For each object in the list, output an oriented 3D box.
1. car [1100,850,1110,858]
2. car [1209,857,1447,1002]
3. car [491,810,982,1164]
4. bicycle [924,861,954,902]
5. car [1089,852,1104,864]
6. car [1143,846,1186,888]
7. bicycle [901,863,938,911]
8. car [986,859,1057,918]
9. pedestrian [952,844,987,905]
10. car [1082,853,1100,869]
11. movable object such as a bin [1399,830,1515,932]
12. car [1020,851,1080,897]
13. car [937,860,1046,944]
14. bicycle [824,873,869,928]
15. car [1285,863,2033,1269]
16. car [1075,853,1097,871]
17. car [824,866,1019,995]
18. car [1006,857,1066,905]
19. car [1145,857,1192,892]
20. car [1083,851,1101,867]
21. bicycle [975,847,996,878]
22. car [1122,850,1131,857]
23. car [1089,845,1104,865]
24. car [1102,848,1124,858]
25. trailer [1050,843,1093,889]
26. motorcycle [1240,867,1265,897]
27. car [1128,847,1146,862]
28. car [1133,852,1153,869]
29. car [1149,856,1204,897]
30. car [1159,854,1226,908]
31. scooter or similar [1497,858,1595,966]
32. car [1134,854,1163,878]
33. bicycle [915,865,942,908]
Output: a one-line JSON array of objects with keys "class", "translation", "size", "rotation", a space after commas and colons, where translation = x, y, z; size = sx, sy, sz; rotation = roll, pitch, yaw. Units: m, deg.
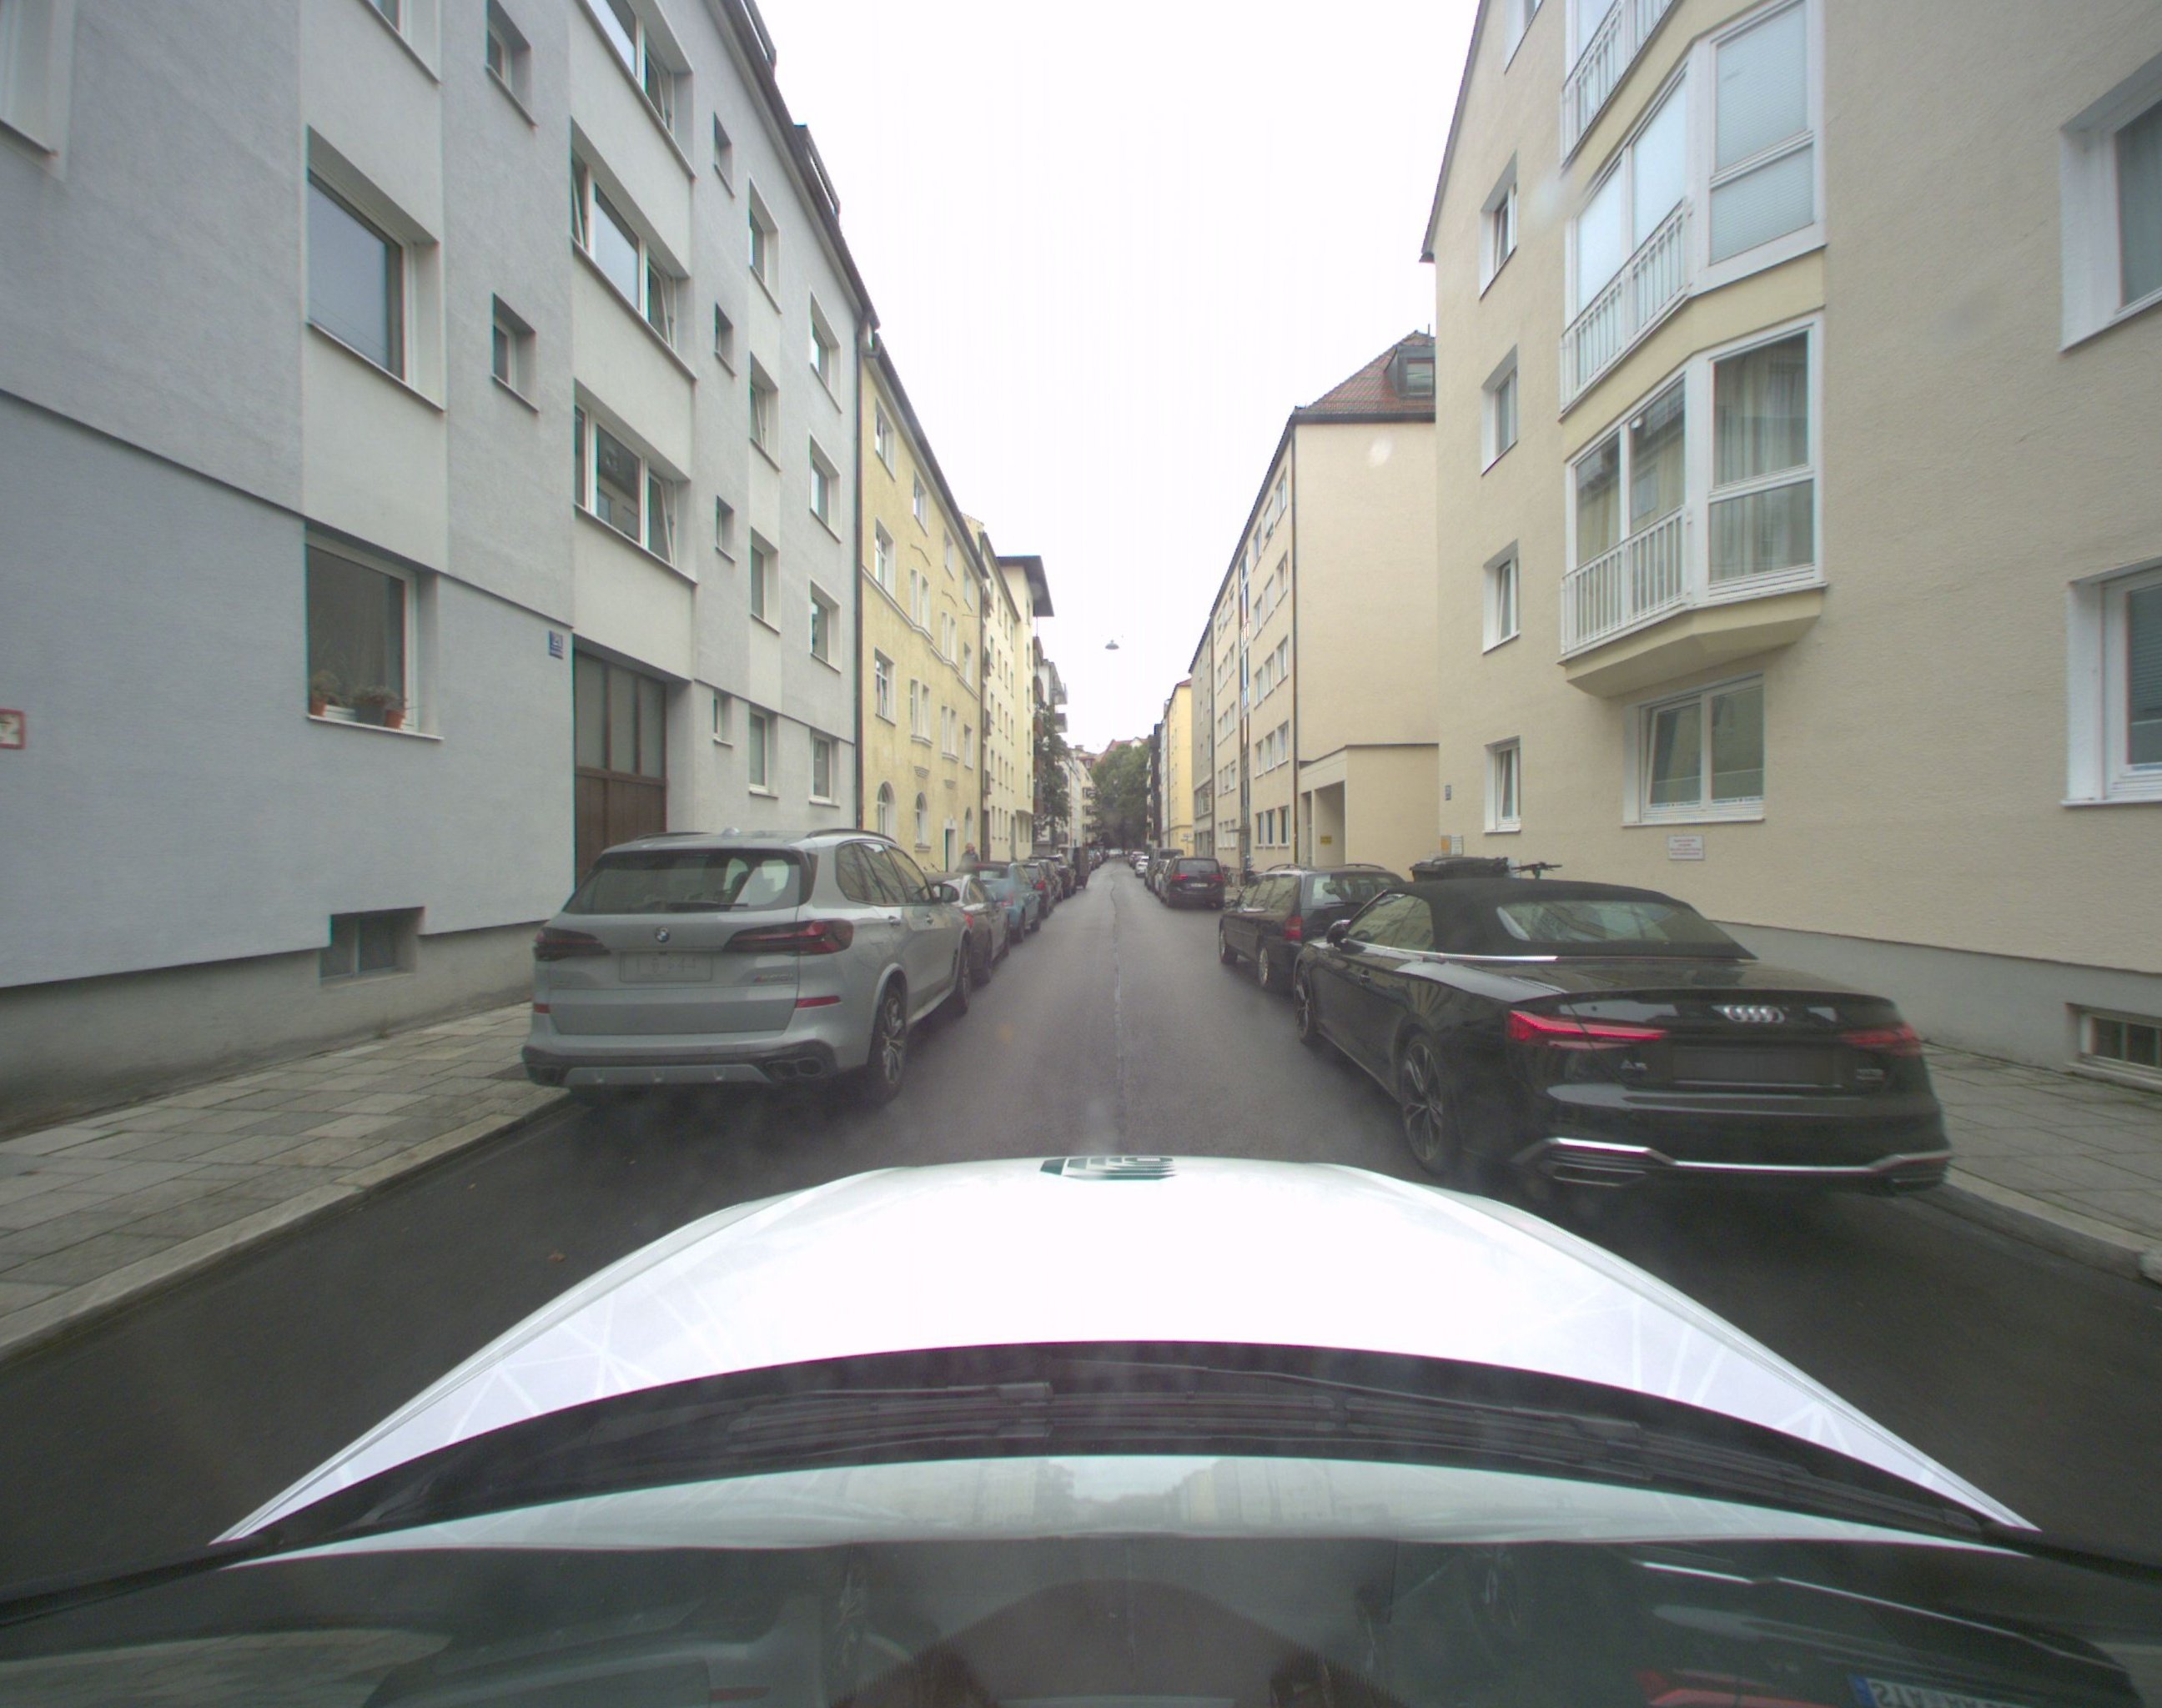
[{"class": "car", "translation": [4.025, -0.005, 136.808], "size": [1.636, 1.383, 3.484], "rotation": [-3, 0, 2]}, {"class": "car", "translation": [2.901, 0.792, 10.656], "size": [1.711, 1.471, 4.530], "rotation": [1, 0, -1]}, {"class": "car", "translation": [-2.083, 0.703, 6.611], "size": [1.856, 1.770, 4.736], "rotation": [-2, 0, 1]}, {"class": "bicycle", "translation": [-4.384, 0.825, 25.230], "size": [0.591, 1.234, 1.737], "rotation": [0, 0, 2]}, {"class": "car", "translation": [2.043, 0.506, 104.038], "size": [1.770, 1.452, 4.048], "rotation": [-3, 0, 2]}, {"class": "car", "translation": [4.224, 0.624, 41.973], "size": [1.745, 1.975, 4.343], "rotation": [2, 1, 0]}, {"class": "bicycle", "translation": [-4.408, 0.875, 22.306], "size": [0.591, 1.234, 1.737], "rotation": [0, 0, 2]}, {"class": "car", "translation": [-1.560, 0.877, 22.356], "size": [1.557, 1.460, 3.764], "rotation": [-1, 0, 1]}, {"class": "pedestrian", "translation": [-3.299, 0.595, 24.228], "size": [0.836, 1.764, 1.068], "rotation": [1, 0, 2]}, {"class": "car", "translation": [0.963, 0.643, 79.817], "size": [1.687, 1.442, 3.978], "rotation": [-1, 0, 1]}, {"class": "movable object such as a bin", "translation": [5.705, 0.395, 12.476], "size": [1.028, 1.423, 1.587], "rotation": [-2, -1, 2]}, {"class": "car", "translation": [-1.136, 0.723, 32.134], "size": [1.871, 1.660, 4.419], "rotation": [-1, 0, 4]}, {"class": "car", "translation": [-1.695, 0.877, 16.375], "size": [1.556, 1.460, 3.408], "rotation": [-1, 0, 4]}, {"class": "bicycle", "translation": [-4.750, 0.920, 16.589], "size": [0.394, 1.031, 1.571], "rotation": [0, 0, 2]}, {"class": "car", "translation": [2.640, 0.782, 5.165], "size": [1.825, 1.406, 4.415], "rotation": [1, 0, 3]}, {"class": "car", "translation": [0.477, 0.703, 72.296], "size": [1.686, 1.442, 3.945], "rotation": [-1, 0, 3]}, {"class": "car", "translation": [-2.012, 0.924, 11.587], "size": [1.805, 1.386, 4.252], "rotation": [-2, 0, 1]}, {"class": "car", "translation": [-1.446, 0.860, 27.239], "size": [1.556, 1.460, 3.479], "rotation": [-1, 0, 4]}, {"class": "car", "translation": [3.932, 0.893, 37.255], "size": [1.706, 1.486, 4.244], "rotation": [1, 0, 0]}, {"class": "car", "translation": [1.183, 0.534, 85.802], "size": [1.770, 1.629, 4.417], "rotation": [-1, 0, 2]}, {"class": "bicycle", "translation": [-4.031, 0.366, 34.489], "size": [0.592, 1.279, 1.552], "rotation": [2, 0, 1]}, {"class": "car", "translation": [9.240, -0.092, 164.234], "size": [1.636, 1.383, 3.748], "rotation": [-3, 0, 2]}, {"class": "car", "translation": [2.288, 0.102, 118.621], "size": [1.929, 2.801, 4.535], "rotation": [-3, 0, 2]}, {"class": "car", "translation": [5.754, -0.160, 147.261], "size": [3.872, 1.584, 1.648], "rotation": [-3, 0, 1]}, {"class": "trailer", "translation": [-0.416, 0.540, 38.942], "size": [1.346, 2.116, 3.329], "rotation": [0, 0, 12]}, {"class": "motorcycle", "translation": [6.133, 0.995, 29.190], "size": [0.480, 0.967, 1.912], "rotation": [-4, 0, 2]}, {"class": "car", "translation": [5.983, 0.031, 87.115], "size": [1.676, 1.567, 4.416], "rotation": [2, 1, 1]}, {"class": "car", "translation": [5.814, 0.594, 76.742], "size": [1.744, 1.469, 4.345], "rotation": [2, 1, 2]}, {"class": "car", "translation": [3.727, 0.835, 32.320], "size": [1.706, 1.486, 4.244], "rotation": [1, 0, 0]}, {"class": "car", "translation": [3.580, 0.835, 26.764], "size": [1.705, 1.608, 4.245], "rotation": [1, 0, 1]}, {"class": "scooter or similar", "translation": [5.854, 0.696, 10.319], "size": [0.574, 1.266, 1.137], "rotation": [-2, -1, 2]}, {"class": "car", "translation": [4.679, 0.823, 56.912], "size": [1.812, 1.408, 3.954], "rotation": [1, 3, 1]}, {"class": "bicycle", "translation": [-4.487, 0.937, 24.060], "size": [0.437, 1.190, 1.633], "rotation": [0, 0, 2]}]
